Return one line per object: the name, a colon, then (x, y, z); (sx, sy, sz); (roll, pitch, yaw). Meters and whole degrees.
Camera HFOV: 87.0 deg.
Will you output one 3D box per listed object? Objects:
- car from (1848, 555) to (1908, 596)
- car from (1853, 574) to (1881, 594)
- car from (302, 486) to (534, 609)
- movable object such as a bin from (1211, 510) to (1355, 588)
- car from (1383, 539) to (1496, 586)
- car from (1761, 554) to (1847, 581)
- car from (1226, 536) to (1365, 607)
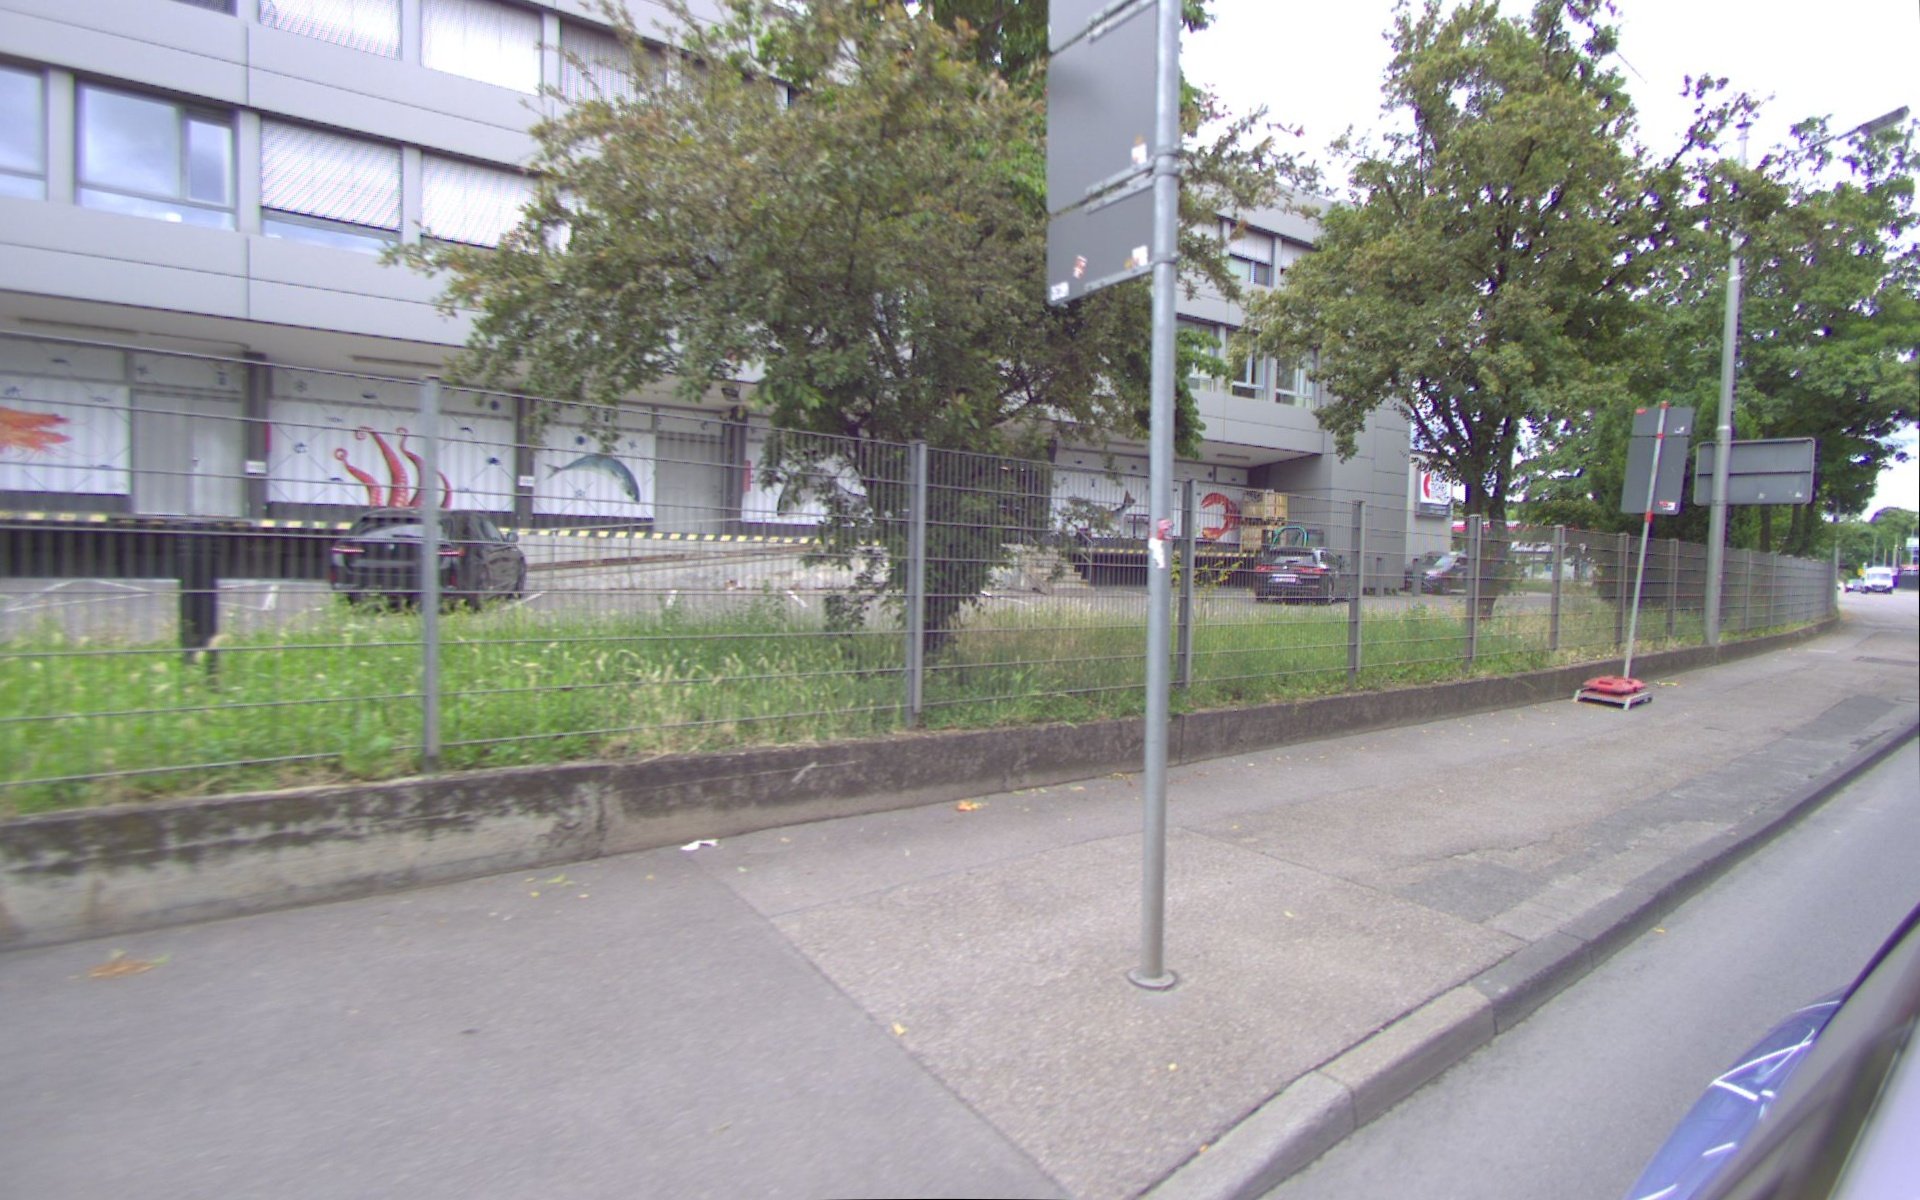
car: (89.543, -2.398, 98.849); (3.322, 3.651, 8.558); (3, 3, 36)
car: (99.794, -1.787, 111.409); (1.702, 2.038, 3.842); (3, 3, 35)
car: (-8.135, -0.801, 15.744); (1.981, 1.553, 4.873); (1, 3, -13)
movable object such as a bin: (10.336, -1.671, 32.632); (1.916, 2.333, 4.000); (0, 4, -37)
car: (18.284, -1.410, 38.544); (4.359, 1.585, 2.001); (0, 6, -37)
car: (57.383, -2.224, 68.859); (1.780, 1.786, 4.205); (-1, 2, -36)
car: (8.031, -0.770, 24.739); (1.963, 1.491, 4.693); (2, 4, 3)
